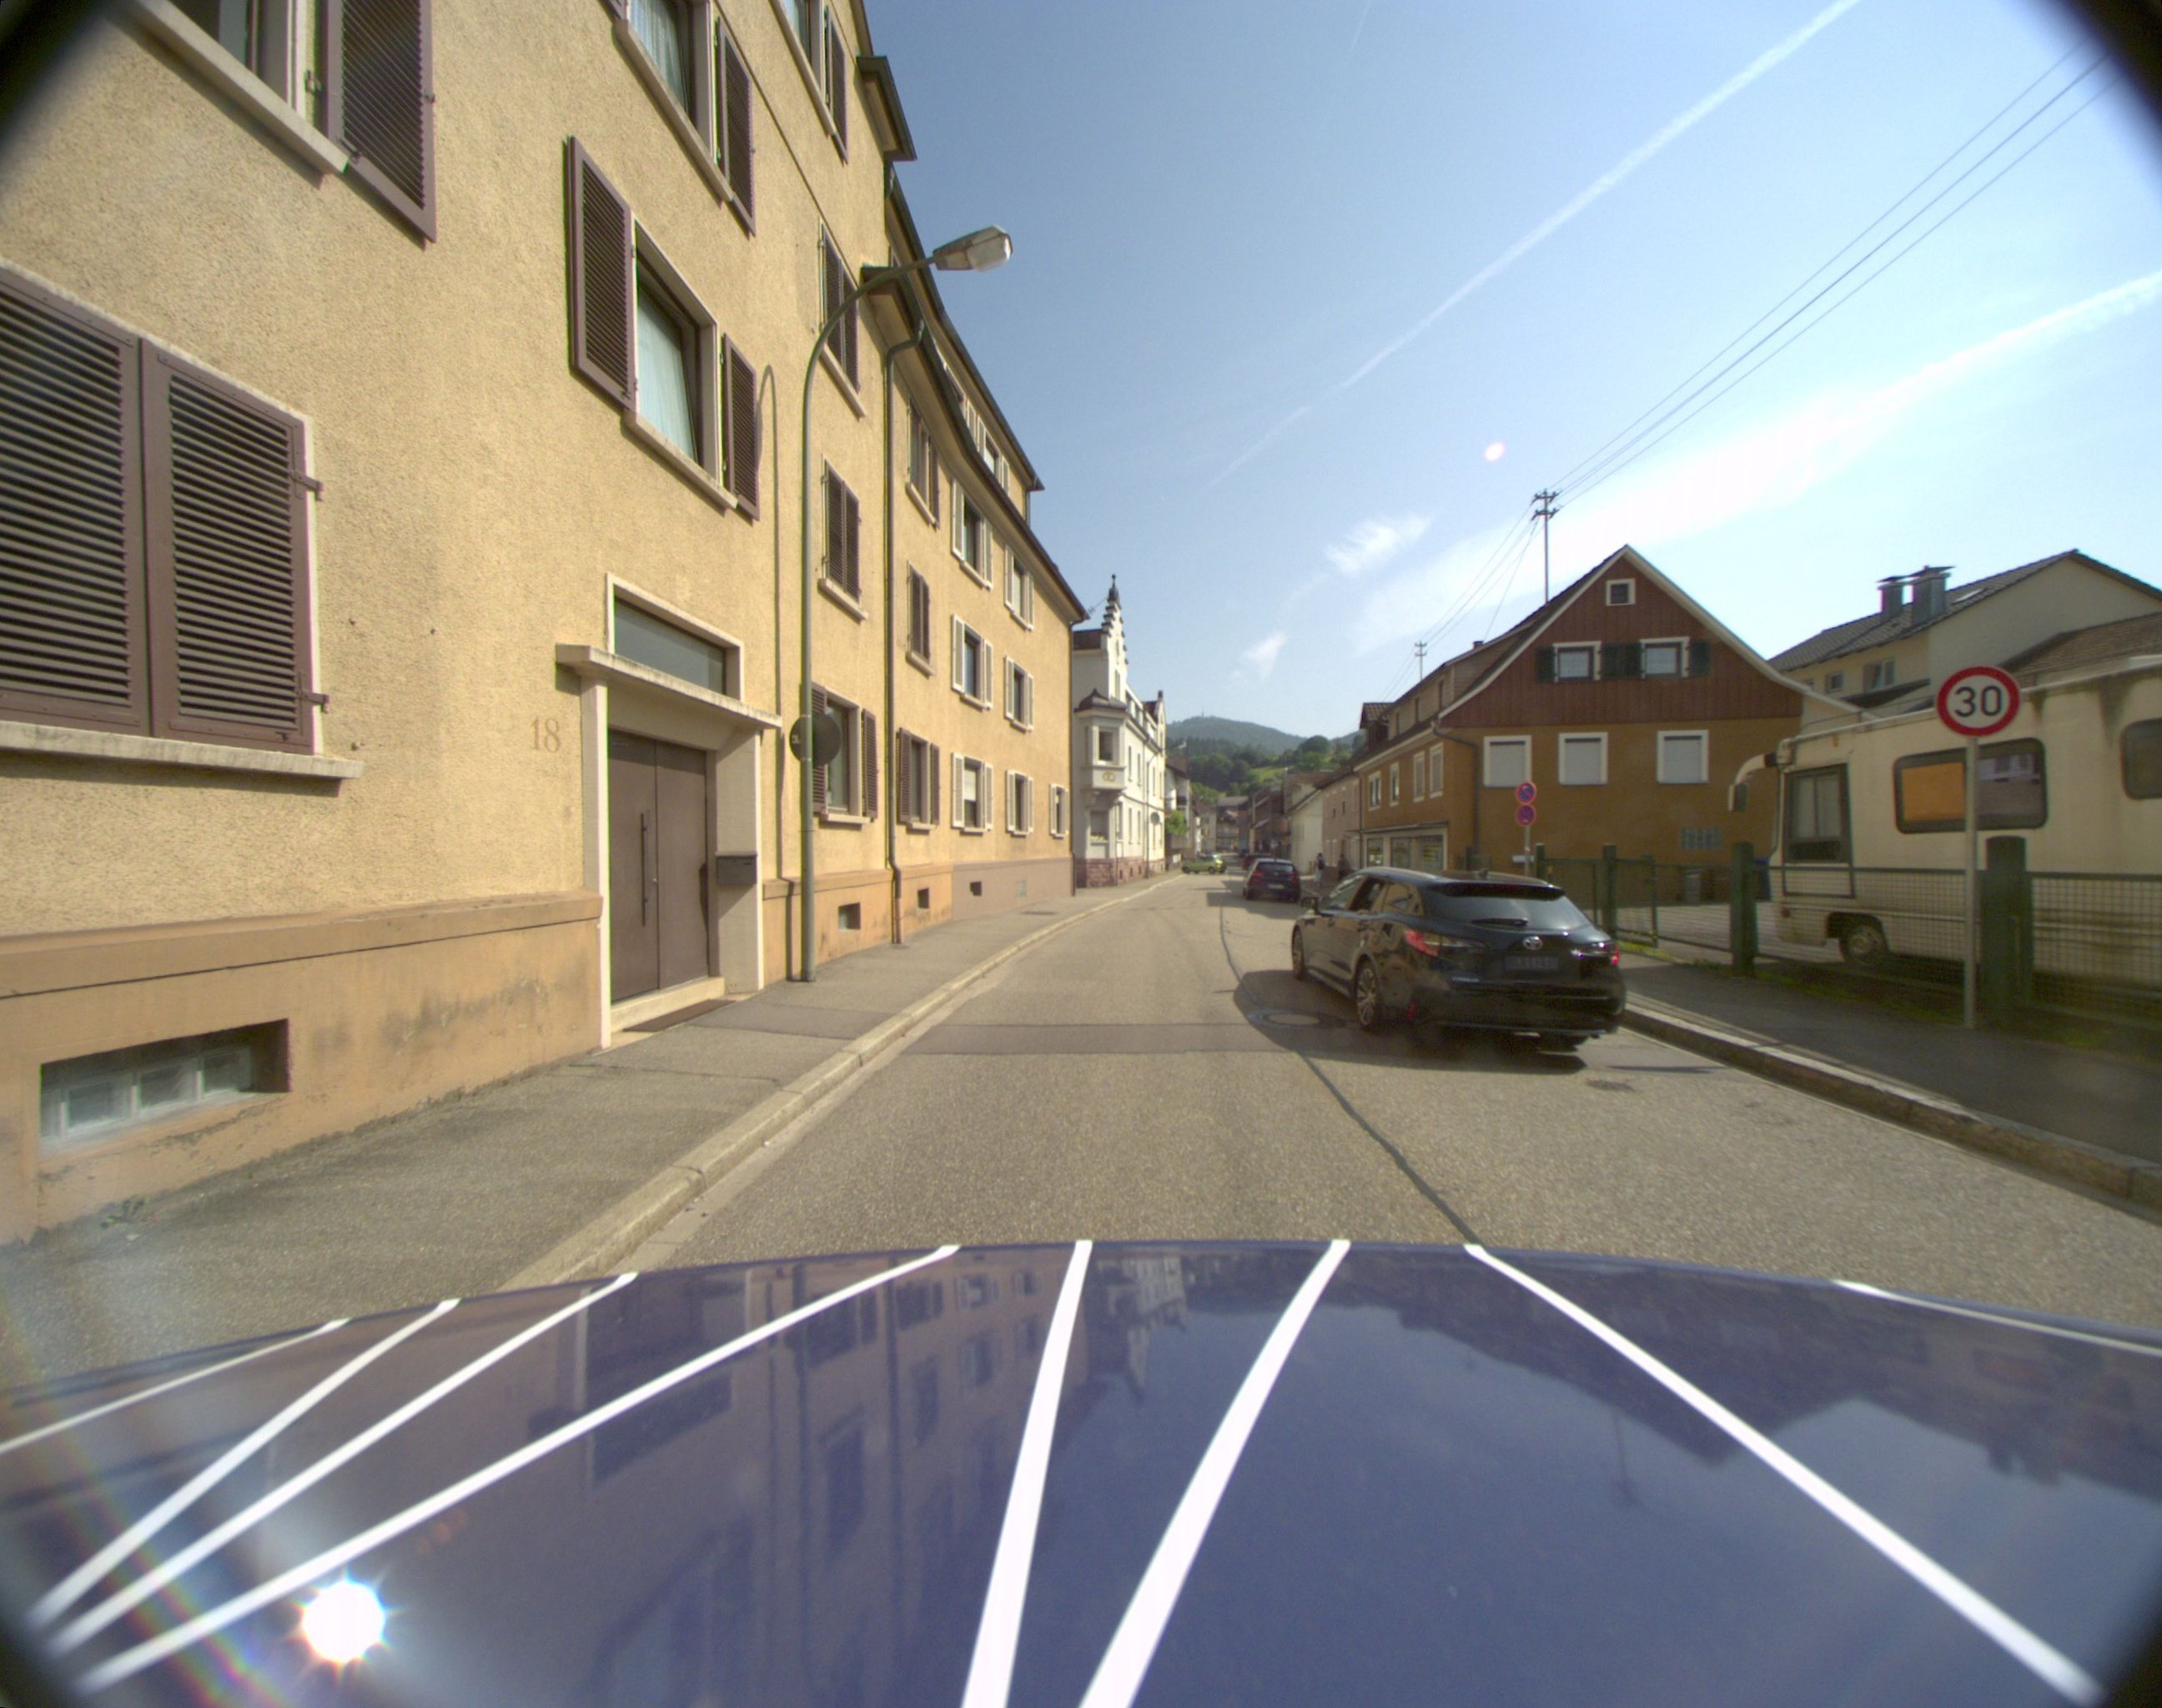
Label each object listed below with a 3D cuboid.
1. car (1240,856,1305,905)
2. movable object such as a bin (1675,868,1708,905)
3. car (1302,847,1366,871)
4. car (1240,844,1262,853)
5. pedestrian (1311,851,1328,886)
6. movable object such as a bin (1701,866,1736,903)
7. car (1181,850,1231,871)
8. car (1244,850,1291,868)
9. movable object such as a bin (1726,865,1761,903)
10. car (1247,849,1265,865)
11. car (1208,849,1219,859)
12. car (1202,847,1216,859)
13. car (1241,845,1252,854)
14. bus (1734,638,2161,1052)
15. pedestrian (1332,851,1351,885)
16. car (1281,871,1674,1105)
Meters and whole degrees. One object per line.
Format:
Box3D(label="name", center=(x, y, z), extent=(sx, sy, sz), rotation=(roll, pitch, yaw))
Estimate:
Box3D(label="car", center=(6.702, 0.863, 26.970), extent=(1.750, 1.445, 4.029), rotation=(3, 1, 8))
Box3D(label="movable object such as a bin", center=(15.606, 0.822, 19.430), extent=(0.478, 0.916, 0.486), rotation=(-2, 0, 10))
Box3D(label="car", center=(17.945, 0.378, 54.049), extent=(3.994, 1.584, 1.908), rotation=(-1, 0, 8))
Box3D(label="car", center=(34.222, -1.133, 153.317), extent=(3.996, 1.674, 1.835), rotation=(0, -1, 1))
Box3D(label="pedestrian", center=(11.401, 0.674, 36.373), extent=(0.640, 1.617, 0.778), rotation=(-2, 0, 12))
Box3D(label="movable object such as a bin", center=(16.214, 0.763, 19.332), extent=(0.478, 0.916, 0.486), rotation=(-2, 0, 10))
Box3D(label="car", center=(10.021, 0.535, 61.027), extent=(3.647, 1.456, 1.605), rotation=(4, 2, 44))
Box3D(label="car", center=(17.626, 0.486, 71.645), extent=(3.989, 1.652, 1.827), rotation=(0, -1, 27))
Box3D(label="movable object such as a bin", center=(16.768, 0.750, 19.228), extent=(0.478, 0.916, 0.486), rotation=(-2, 0, 10))
Box3D(label="car", center=(20.817, 0.353, 90.642), extent=(1.723, 1.786, 4.271), rotation=(0, 0, 8))
Box3D(label="car", center=(27.760, -0.083, 159.175), extent=(1.742, 2.002, 3.840), rotation=(-1, 0, 2))
Box3D(label="car", center=(21.165, -0.196, 125.675), extent=(1.997, 2.002, 4.001), rotation=(-1, 1, 6))
Box3D(label="car", center=(31.488, -0.899, 144.879), extent=(1.785, 1.566, 3.891), rotation=(-3, 0, 9))
Box3D(label="bus", center=(9.775, -0.120, 5.721), extent=(2.825, 3.209, 9.041), rotation=(-3, 0, 8))
Box3D(label="pedestrian", center=(12.397, 0.667, 36.175), extent=(0.736, 1.555, 0.825), rotation=(-2, 0, 11))
Box3D(label="car", center=(3.285, 0.972, 7.371), extent=(1.662, 1.440, 4.259), rotation=(3, 0, 2))
